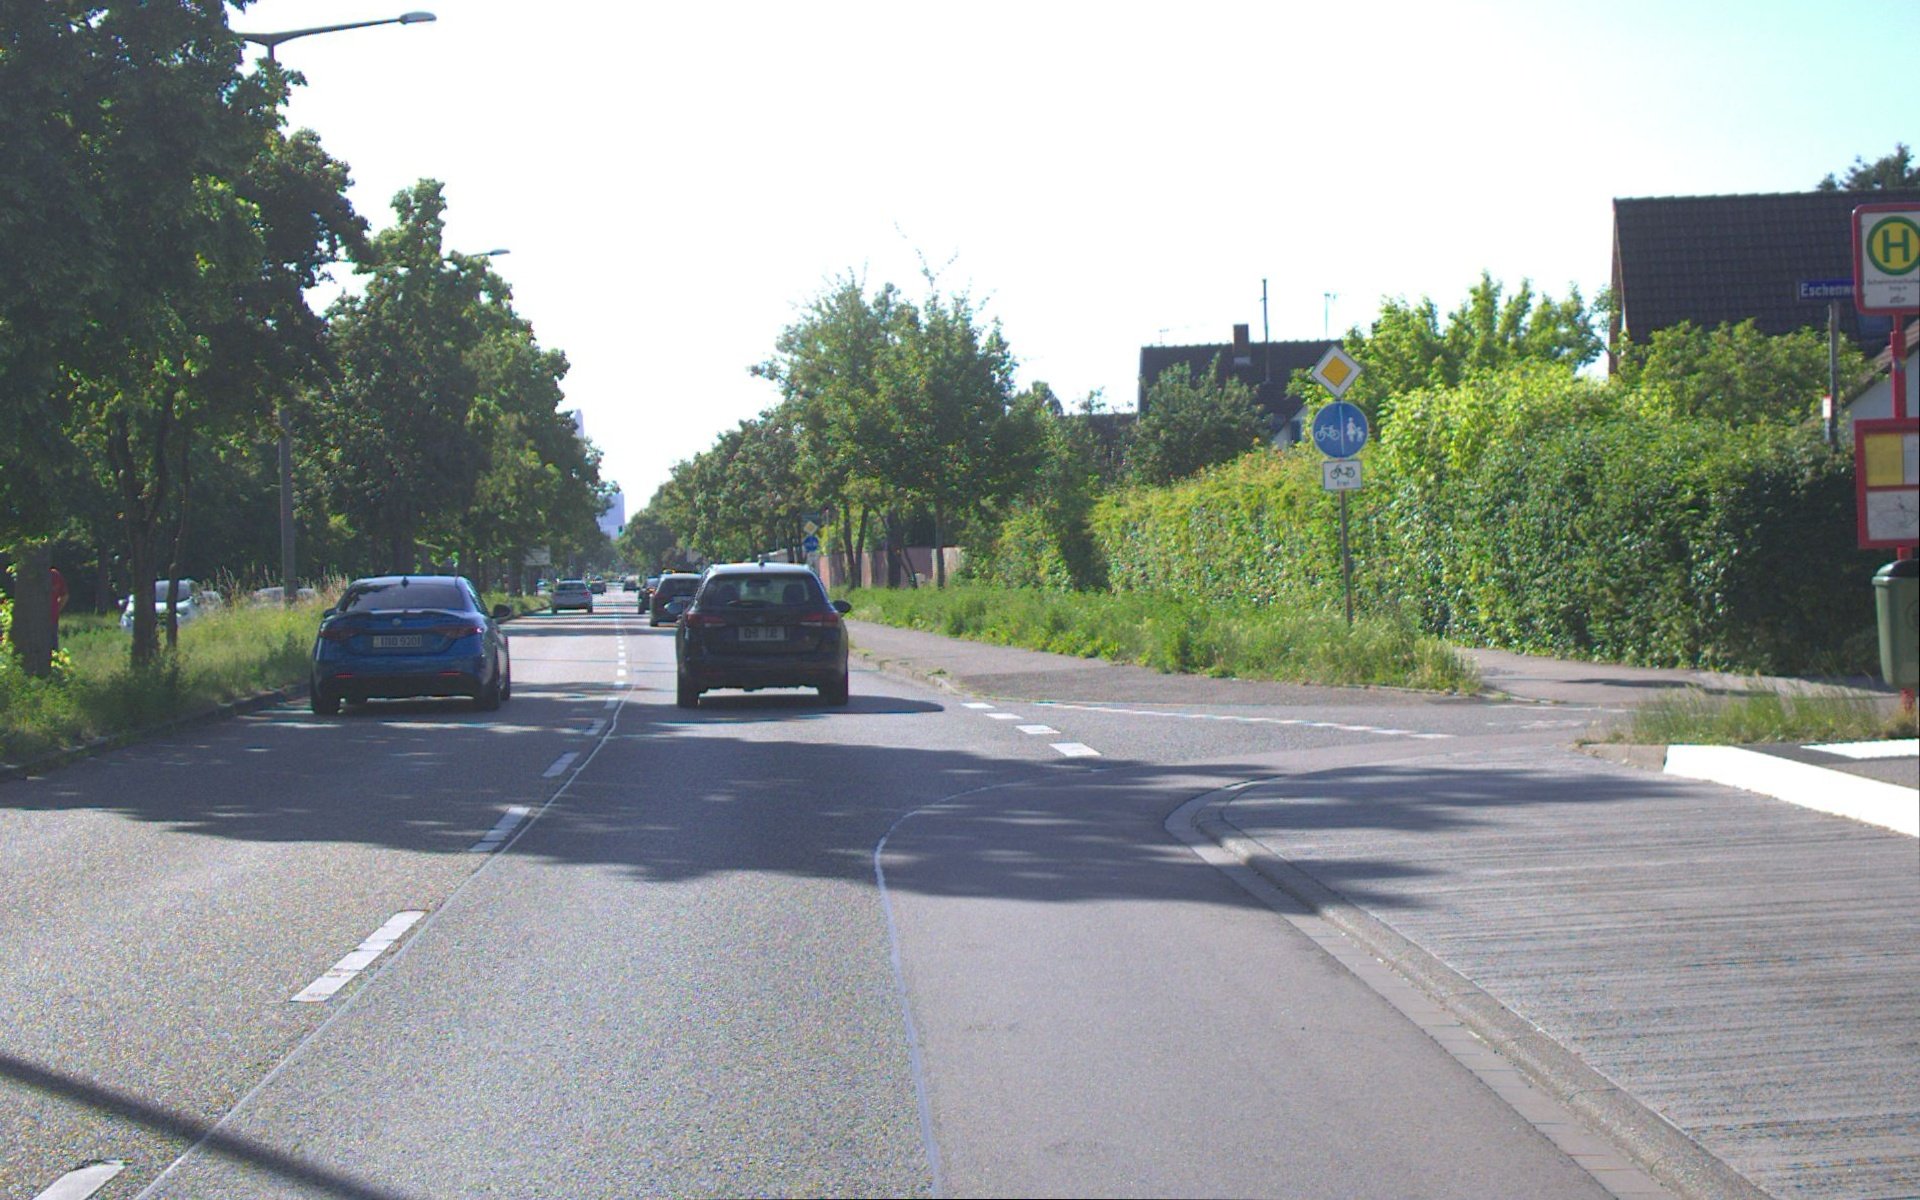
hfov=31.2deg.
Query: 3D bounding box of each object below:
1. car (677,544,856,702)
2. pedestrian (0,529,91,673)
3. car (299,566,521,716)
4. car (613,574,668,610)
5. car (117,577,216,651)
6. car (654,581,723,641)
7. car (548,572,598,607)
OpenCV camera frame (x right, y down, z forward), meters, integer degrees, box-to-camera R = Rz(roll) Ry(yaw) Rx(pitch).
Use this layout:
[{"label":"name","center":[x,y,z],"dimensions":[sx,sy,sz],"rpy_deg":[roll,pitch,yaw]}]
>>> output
[{"label":"car","center":[-2.086,0.230,36.128],"dimensions":[1.760,1.554,4.001],"rpy_deg":[0,0,-5]},{"label":"pedestrian","center":[-10.906,0.009,40.863],"dimensions":[0.631,1.691,0.942],"rpy_deg":[-1,1,25]},{"label":"car","center":[-5.740,0.389,36.275],"dimensions":[1.994,1.400,4.001],"rpy_deg":[-2,1,-5]},{"label":"car","center":[-12.941,-0.342,139.139],"dimensions":[1.898,1.351,4.001],"rpy_deg":[-1,1,-9]},{"label":"car","center":[-18.817,0.303,81.644],"dimensions":[1.730,1.626,4.198],"rpy_deg":[-2,1,-6]},{"label":"car","center":[-7.851,0.307,99.003],"dimensions":[1.743,1.592,4.176],"rpy_deg":[-1,1,-7]},{"label":"car","center":[-17.279,-0.495,153.282],"dimensions":[1.978,1.435,4.001],"rpy_deg":[-1,1,-9]}]
